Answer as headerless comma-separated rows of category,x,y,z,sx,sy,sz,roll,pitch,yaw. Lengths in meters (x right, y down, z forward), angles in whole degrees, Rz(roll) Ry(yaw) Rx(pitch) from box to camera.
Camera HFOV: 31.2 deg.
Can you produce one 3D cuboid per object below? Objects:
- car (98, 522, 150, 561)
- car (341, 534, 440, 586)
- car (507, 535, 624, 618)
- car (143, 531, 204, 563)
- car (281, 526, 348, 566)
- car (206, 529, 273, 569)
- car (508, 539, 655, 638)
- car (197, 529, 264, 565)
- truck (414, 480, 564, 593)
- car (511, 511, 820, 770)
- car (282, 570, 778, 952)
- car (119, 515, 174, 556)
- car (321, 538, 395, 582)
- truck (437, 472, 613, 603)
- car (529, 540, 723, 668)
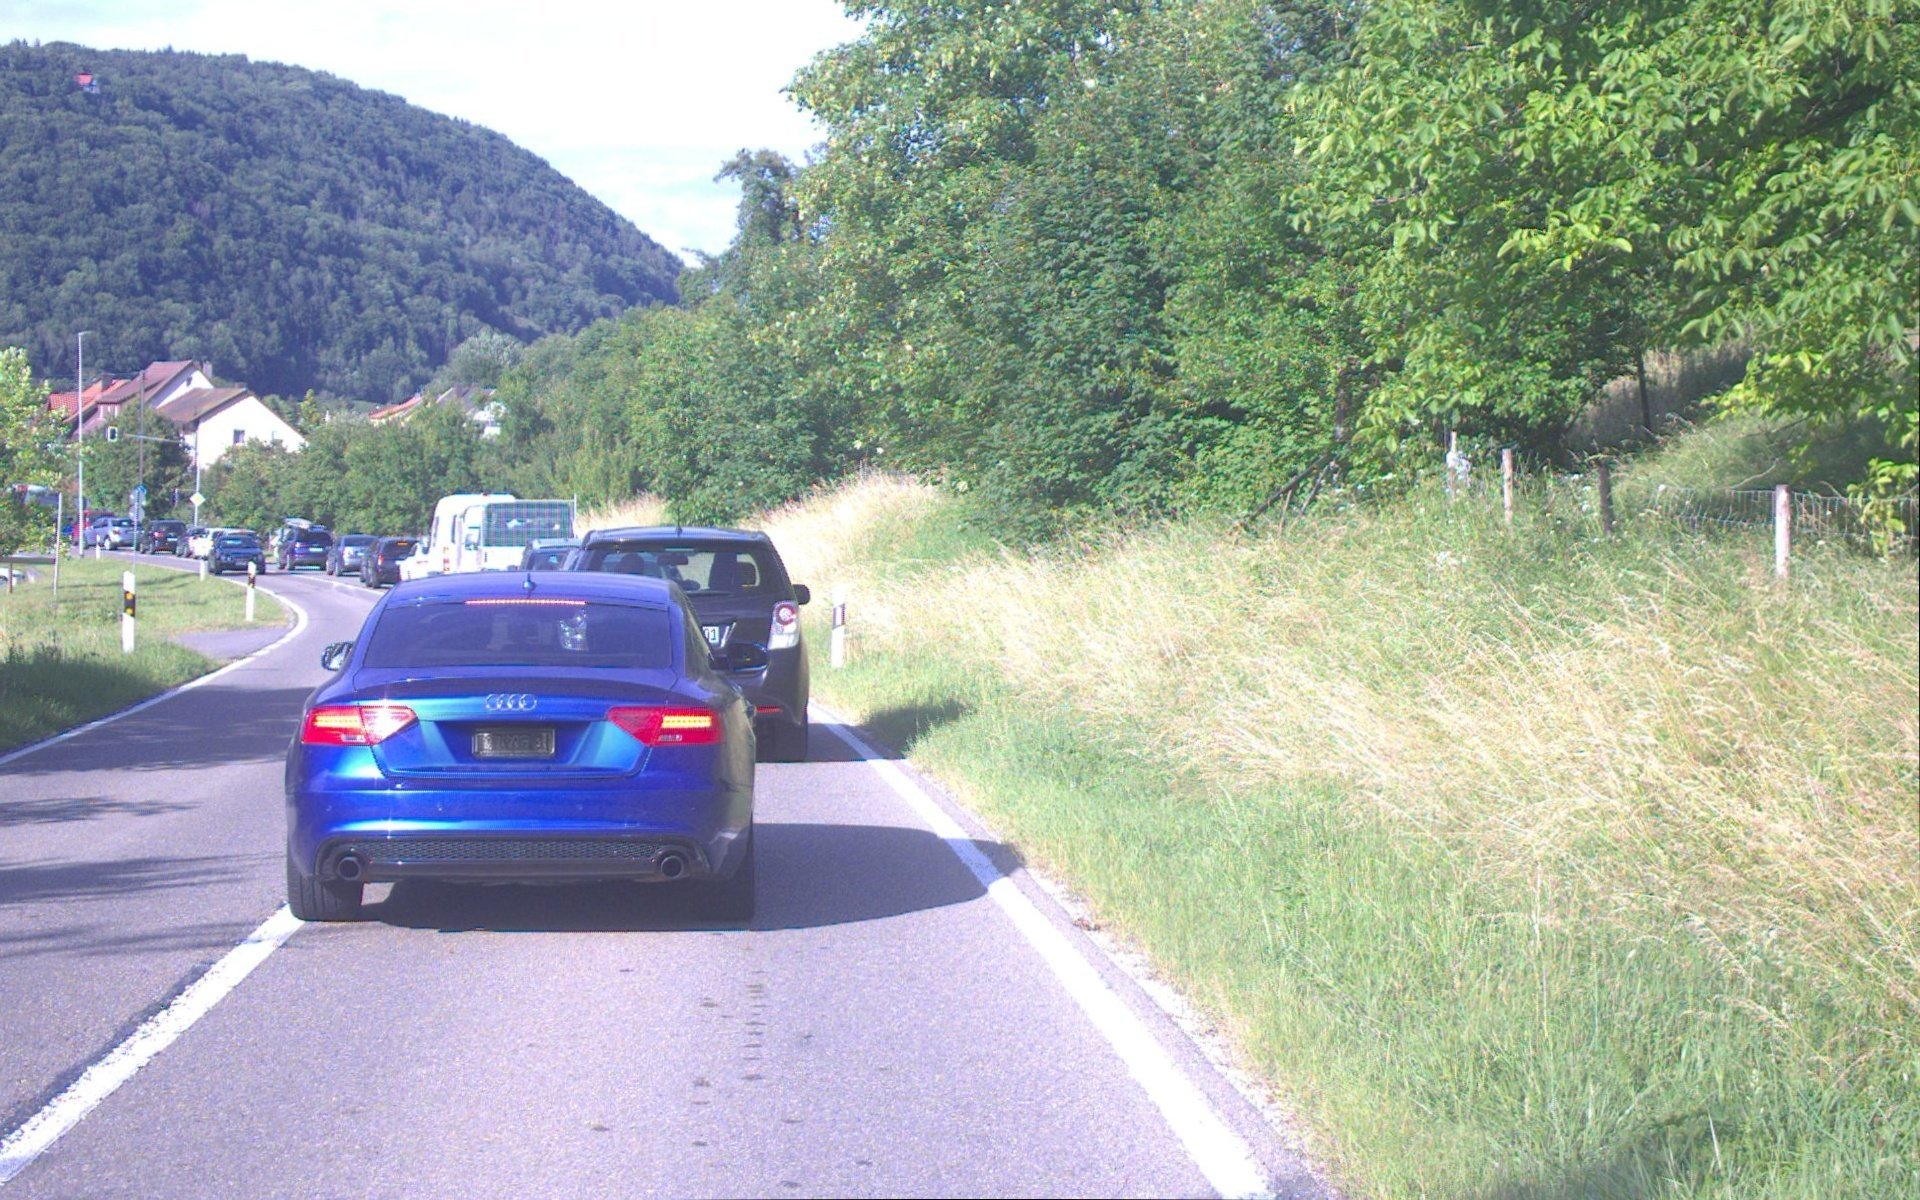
car,-43.700,-3.061,179.570,1.993,2.007,4.001,1,1,-23
car,-16.658,-1.163,100.409,1.993,1.477,4.001,0,1,-22
car,-7.443,-0.448,64.550,1.993,1.477,4.001,1,1,-9
car,-36.807,-2.467,160.842,1.993,1.477,4.001,0,1,-24
car,-24.643,-2.068,131.119,1.993,1.477,4.001,1,1,-18
car,-25.725,-1.809,122.690,1.993,1.371,4.001,1,1,-17
car,-6.007,-0.191,54.188,1.993,1.477,4.001,1,1,-10
car,-31.225,-2.264,147.149,1.993,1.477,4.001,0,1,-24
truck,-12.029,-1.599,86.995,2.863,2.656,10.648,1,1,-13
car,-2.036,0.248,24.823,1.993,1.696,4.000,1,1,-2
car,-1.756,0.566,14.540,1.793,1.355,4.001,0,1,-6
car,-40.134,-3.164,169.515,1.993,2.007,4.001,1,1,-23
car,-21.062,-1.401,120.216,1.993,1.477,4.001,1,1,-18
truck,-9.723,-1.376,75.924,2.863,2.656,10.396,1,1,-13
car,-3.909,0.028,39.695,1.993,1.382,4.001,1,1,-9
